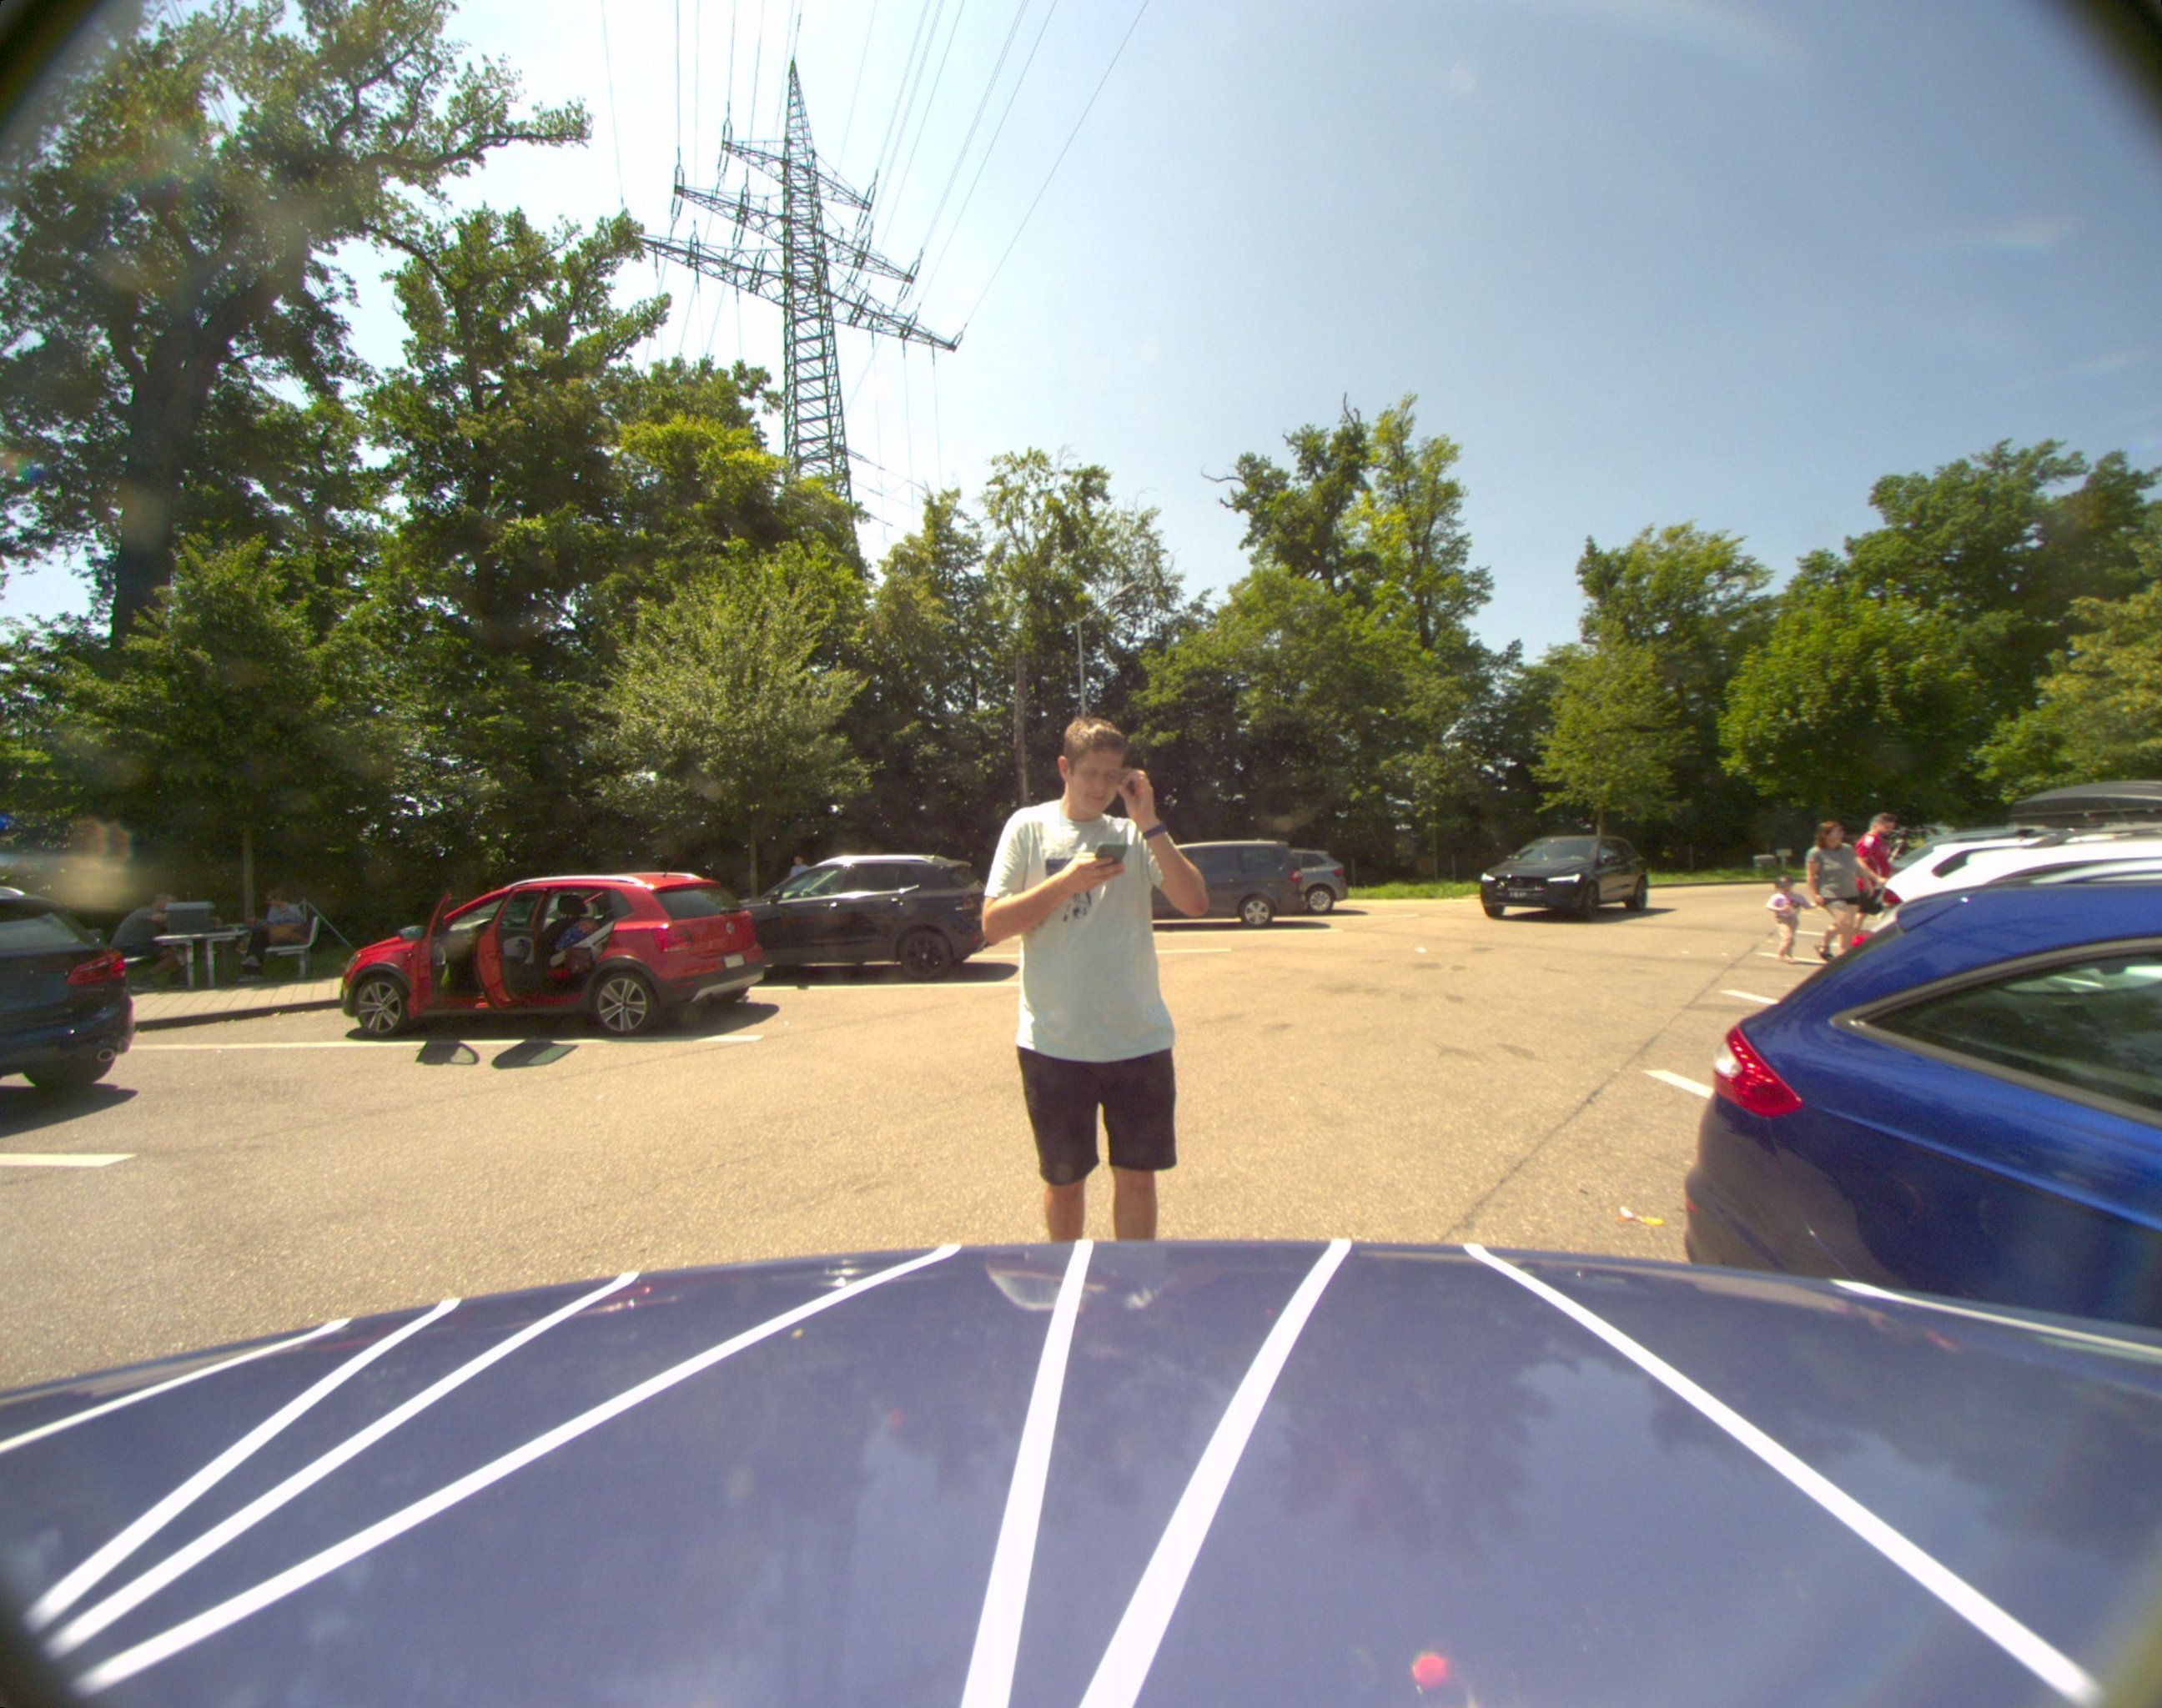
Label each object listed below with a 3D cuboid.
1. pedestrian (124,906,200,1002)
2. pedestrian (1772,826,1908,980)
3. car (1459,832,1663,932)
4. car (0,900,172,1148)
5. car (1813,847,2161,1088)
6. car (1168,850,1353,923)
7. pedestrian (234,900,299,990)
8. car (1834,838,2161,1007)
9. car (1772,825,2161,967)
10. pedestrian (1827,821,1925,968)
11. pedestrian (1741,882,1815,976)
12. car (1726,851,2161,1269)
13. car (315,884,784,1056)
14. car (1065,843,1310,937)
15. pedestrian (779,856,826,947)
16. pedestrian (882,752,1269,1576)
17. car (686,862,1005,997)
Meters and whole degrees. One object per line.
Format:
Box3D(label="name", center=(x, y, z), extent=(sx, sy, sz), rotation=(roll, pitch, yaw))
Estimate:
Box3D(label="pedestrian", center=(-12.633, 1.347, 10.463), extent=(0.695, 1.228, 0.588), rotation=(-3, 0, 43))
Box3D(label="pedestrian", center=(8.619, 0.535, 8.665), extent=(0.675, 1.653, 0.833), rotation=(-2, 0, -1))
Box3D(label="car", center=(9.984, 0.474, 15.681), extent=(4.625, 1.703, 1.995), rotation=(-2, 1, -36))
Box3D(label="car", center=(-8.886, 1.169, 5.016), extent=(3.934, 1.534, 1.812), rotation=(-2, 0, 7))
Box3D(label="car", center=(7.474, 0.675, 4.536), extent=(1.776, 1.418, 4.495), rotation=(-3, -1, -1))
Box3D(label="car", center=(4.143, 0.744, 18.033), extent=(3.996, 1.495, 1.687), rotation=(-2, 1, 3))
Box3D(label="pedestrian", center=(-11.951, 1.313, 11.152), extent=(0.695, 1.228, 0.588), rotation=(-3, 0, 43))
Box3D(label="car", center=(10.108, 0.572, 6.923), extent=(1.777, 1.418, 4.493), rotation=(-3, -1, -5))
Box3D(label="car", center=(12.539, 0.477, 10.394), extent=(1.777, 1.541, 4.493), rotation=(-3, -1, -5))
Box3D(label="pedestrian", center=(9.839, 0.473, 9.403), extent=(0.835, 1.722, 0.674), rotation=(-2, 1, -34))
Box3D(label="pedestrian", center=(8.139, 0.862, 8.880), extent=(0.439, 1.038, 0.434), rotation=(-2, 0, 0))
Box3D(label="car", center=(4.871, 0.744, 2.378), extent=(1.776, 1.491, 4.495), rotation=(-3, -1, -1))
Box3D(label="car", center=(-5.190, 1.096, 7.661), extent=(3.730, 1.440, 1.591), rotation=(-2, 0, 7))
Box3D(label="car", center=(2.139, 0.714, 15.495), extent=(4.619, 1.701, 1.740), rotation=(-2, 0, 9))
Box3D(label="pedestrian", center=(-5.777, 0.960, 15.739), extent=(0.767, 1.821, 0.519), rotation=(-3, 1, -28))
Box3D(label="pedestrian", center=(-0.026, 0.735, 2.172), extent=(0.861, 1.940, 0.688), rotation=(-2, 1, -5))
Box3D(label="car", center=(-3.034, 0.953, 10.338), extent=(3.732, 1.578, 1.739), rotation=(-2, 0, 2))
